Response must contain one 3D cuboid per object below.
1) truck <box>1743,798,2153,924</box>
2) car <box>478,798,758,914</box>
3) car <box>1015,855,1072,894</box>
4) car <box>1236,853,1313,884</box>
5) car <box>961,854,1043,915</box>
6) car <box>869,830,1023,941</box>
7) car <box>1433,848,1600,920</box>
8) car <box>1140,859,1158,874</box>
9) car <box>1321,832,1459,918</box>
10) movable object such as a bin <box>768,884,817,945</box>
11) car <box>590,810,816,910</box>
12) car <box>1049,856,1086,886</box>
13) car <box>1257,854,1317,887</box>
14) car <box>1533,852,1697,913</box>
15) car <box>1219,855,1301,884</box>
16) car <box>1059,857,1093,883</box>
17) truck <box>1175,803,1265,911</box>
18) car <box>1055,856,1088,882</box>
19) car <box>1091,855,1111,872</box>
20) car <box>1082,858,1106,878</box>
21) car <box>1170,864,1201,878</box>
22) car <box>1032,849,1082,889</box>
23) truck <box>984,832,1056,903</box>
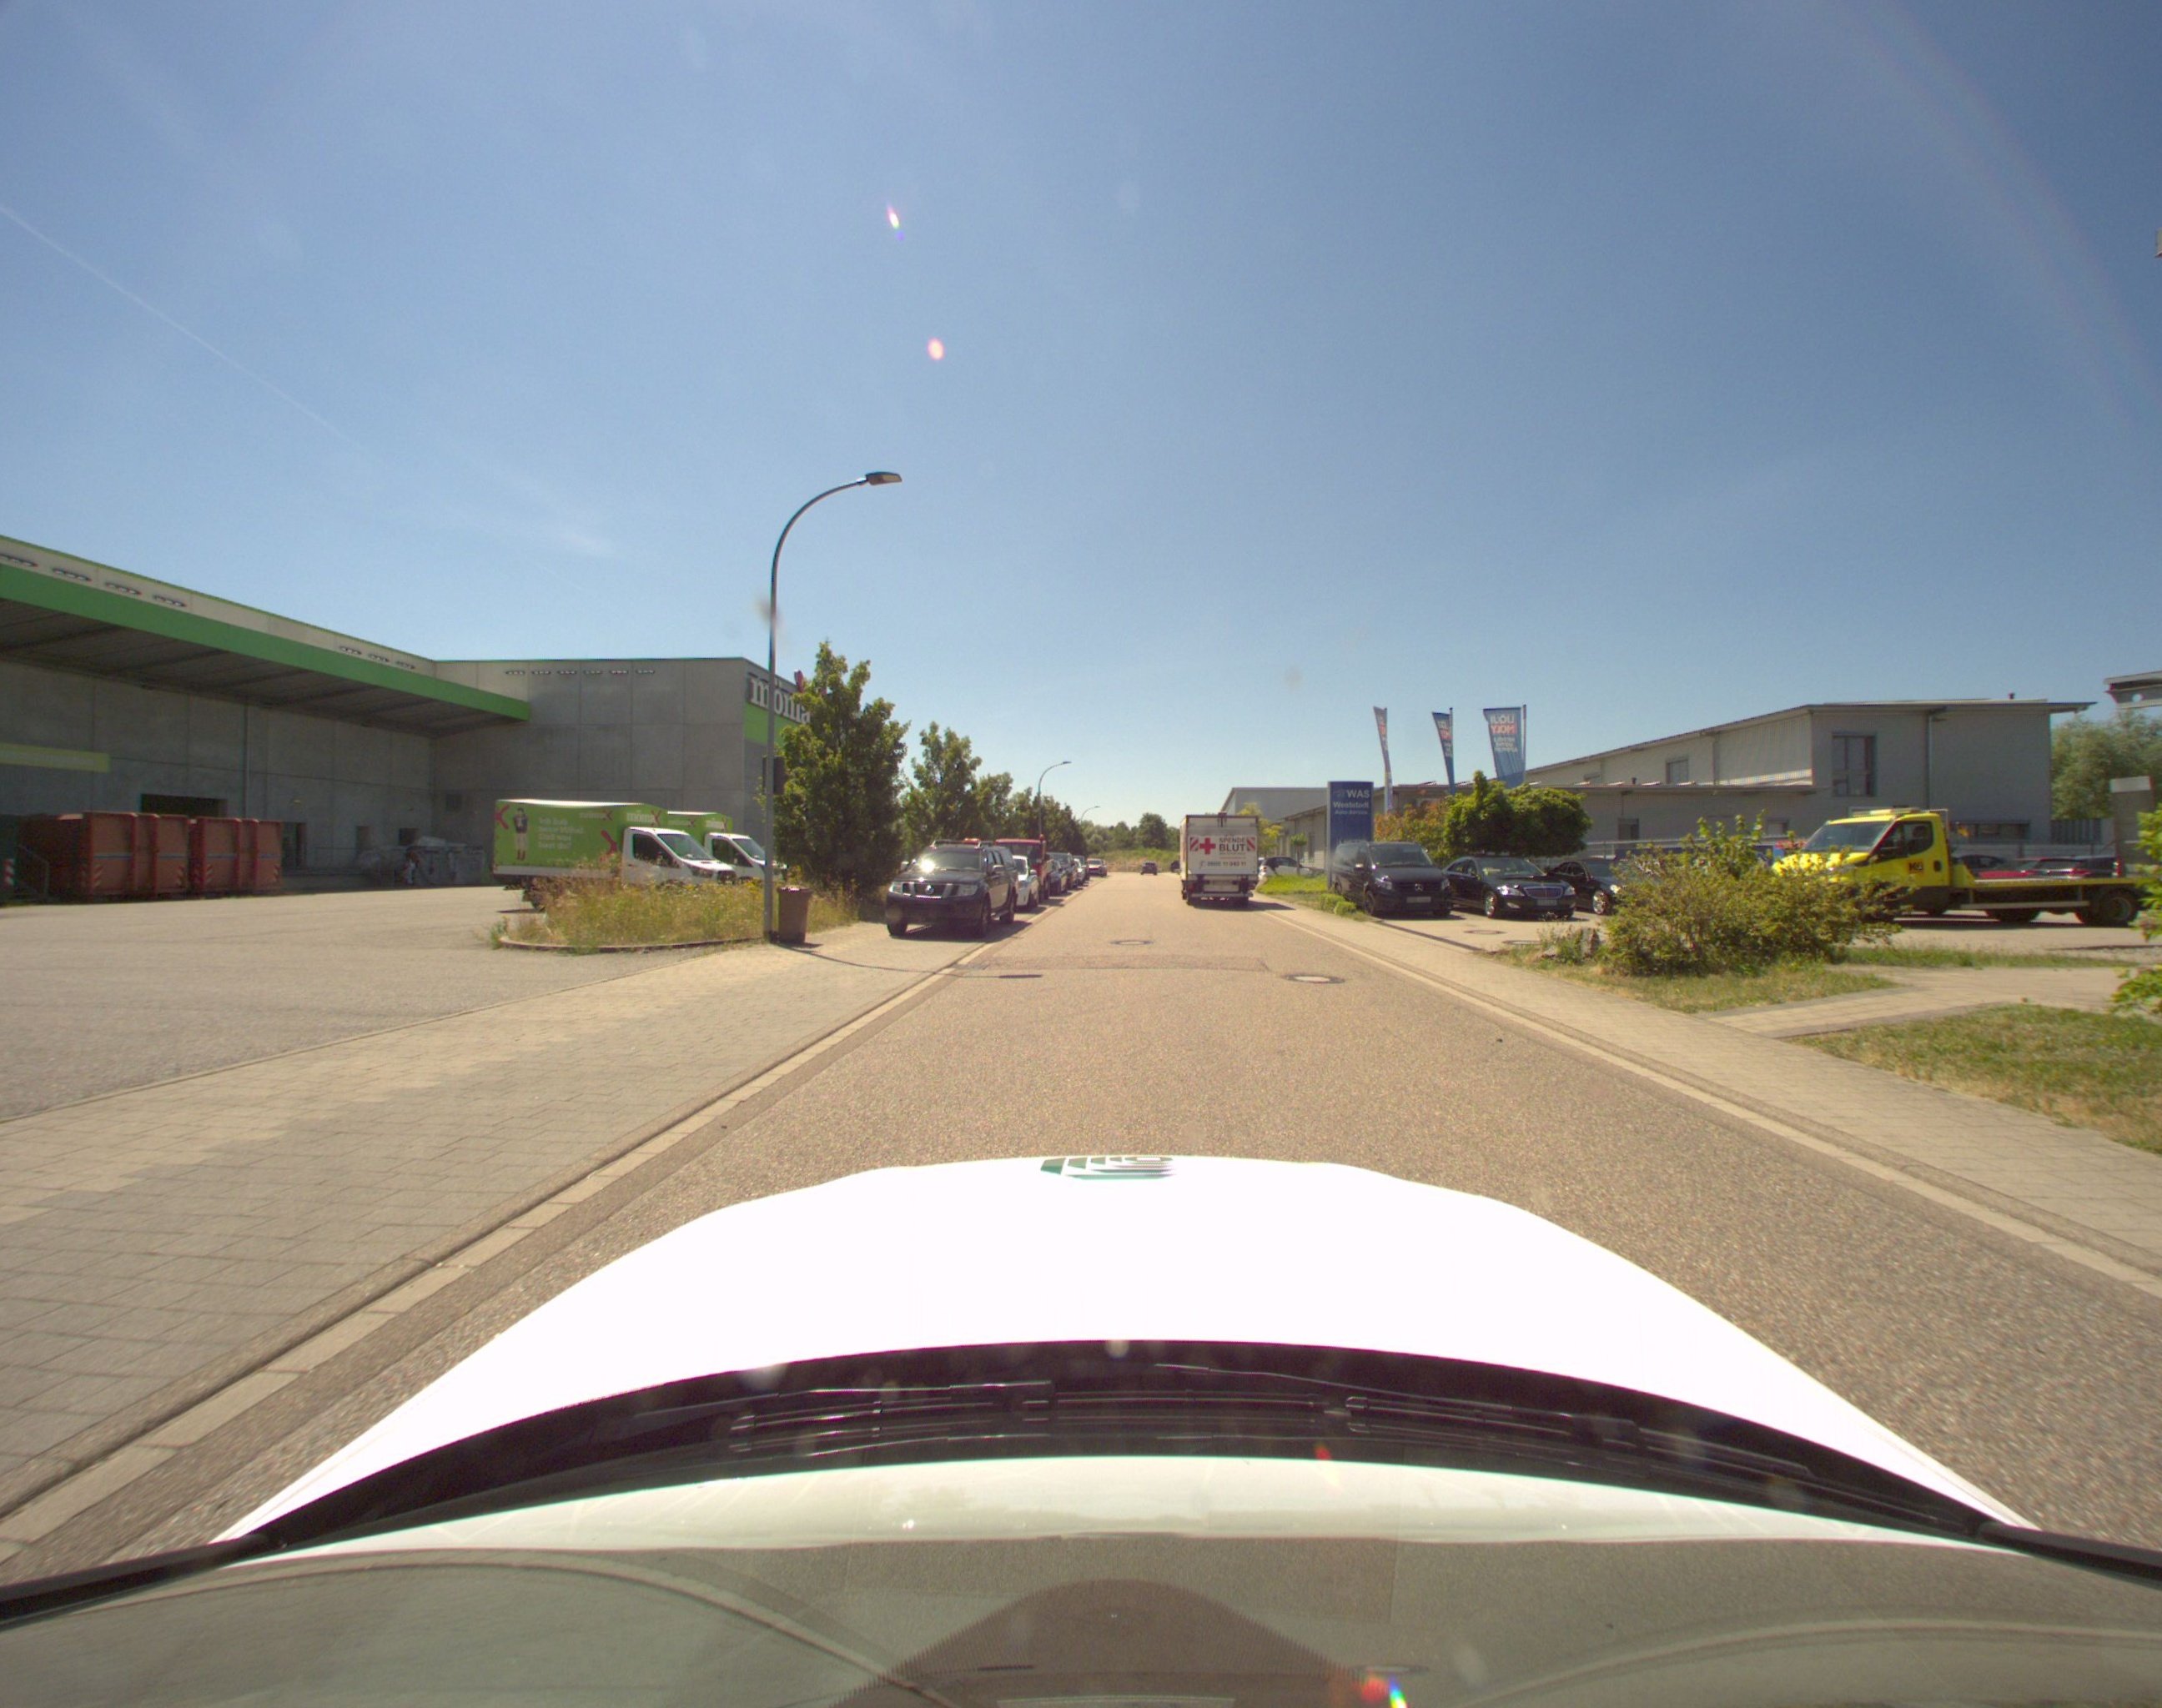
[{"bbox_3d":[17.691,0.156,16.918,5.906,2.370,2.183,-1,-1,4],"label":"truck"},{"bbox_3d":[-12.118,0.061,21.652,5.950,2.824,2.523,1,-1,2],"label":"car"},{"bbox_3d":[-1.473,0.816,33.798,1.843,1.443,4.758,2,0,4],"label":"car"},{"bbox_3d":[10.124,0.749,42.783,3.675,1.541,1.915,-1,-1,4],"label":"car"},{"bbox_3d":[-2.197,0.818,23.508,1.844,1.551,3.768,2,0,2],"label":"car"},{"bbox_3d":[-2.586,0.570,17.117,1.965,1.901,5.407,2,0,4],"label":"car"},{"bbox_3d":[10.565,0.645,20.207,1.984,1.536,4.596,0,1,4],"label":"car"},{"bbox_3d":[8.004,1.447,95.942,1.906,1.713,4.031,0,-1,1],"label":"car"},{"bbox_3d":[8.023,0.505,21.751,1.984,2.014,5.342,0,0,4],"label":"car"},{"bbox_3d":[-4.773,0.992,13.506,0.545,0.950,0.683,1,-1,2],"label":"movable object such as a bin"},{"bbox_3d":[-11.868,0.182,25.928,5.950,2.926,2.523,1,-1,2],"label":"car"},{"bbox_3d":[-0.705,0.894,45.070,1.845,1.519,4.905,2,0,1],"label":"car"},{"bbox_3d":[10.136,0.801,40.218,2.693,1.541,1.414,-1,-1,4],"label":"car"},{"bbox_3d":[13.652,0.669,21.137,1.794,1.370,4.120,0,1,4],"label":"car"},{"bbox_3d":[9.929,0.857,45.364,4.259,1.541,1.915,-1,-1,4],"label":"car"},{"bbox_3d":[-0.329,1.086,57.786,1.983,1.713,5.012,2,0,4],"label":"car"},{"bbox_3d":[4.563,0.098,27.847,2.445,3.205,6.892,1,0,5],"label":"truck"},{"bbox_3d":[-0.560,0.909,51.175,1.845,1.519,5.167,2,0,1],"label":"car"},{"bbox_3d":[2.152,0.991,85.239,1.904,1.655,4.759,0,0,3],"label":"car"},{"bbox_3d":[1.219,1.229,73.881,1.904,1.713,4.416,2,0,3],"label":"car"},{"bbox_3d":[14.202,2.274,110.788,3.993,1.655,1.859,-4,-1,2],"label":"car"},{"bbox_3d":[-1.085,0.705,39.661,1.843,1.758,4.992,2,0,4],"label":"car"},{"bbox_3d":[-2.020,0.445,28.270,1.844,2.223,4.649,2,0,3],"label":"truck"}]
